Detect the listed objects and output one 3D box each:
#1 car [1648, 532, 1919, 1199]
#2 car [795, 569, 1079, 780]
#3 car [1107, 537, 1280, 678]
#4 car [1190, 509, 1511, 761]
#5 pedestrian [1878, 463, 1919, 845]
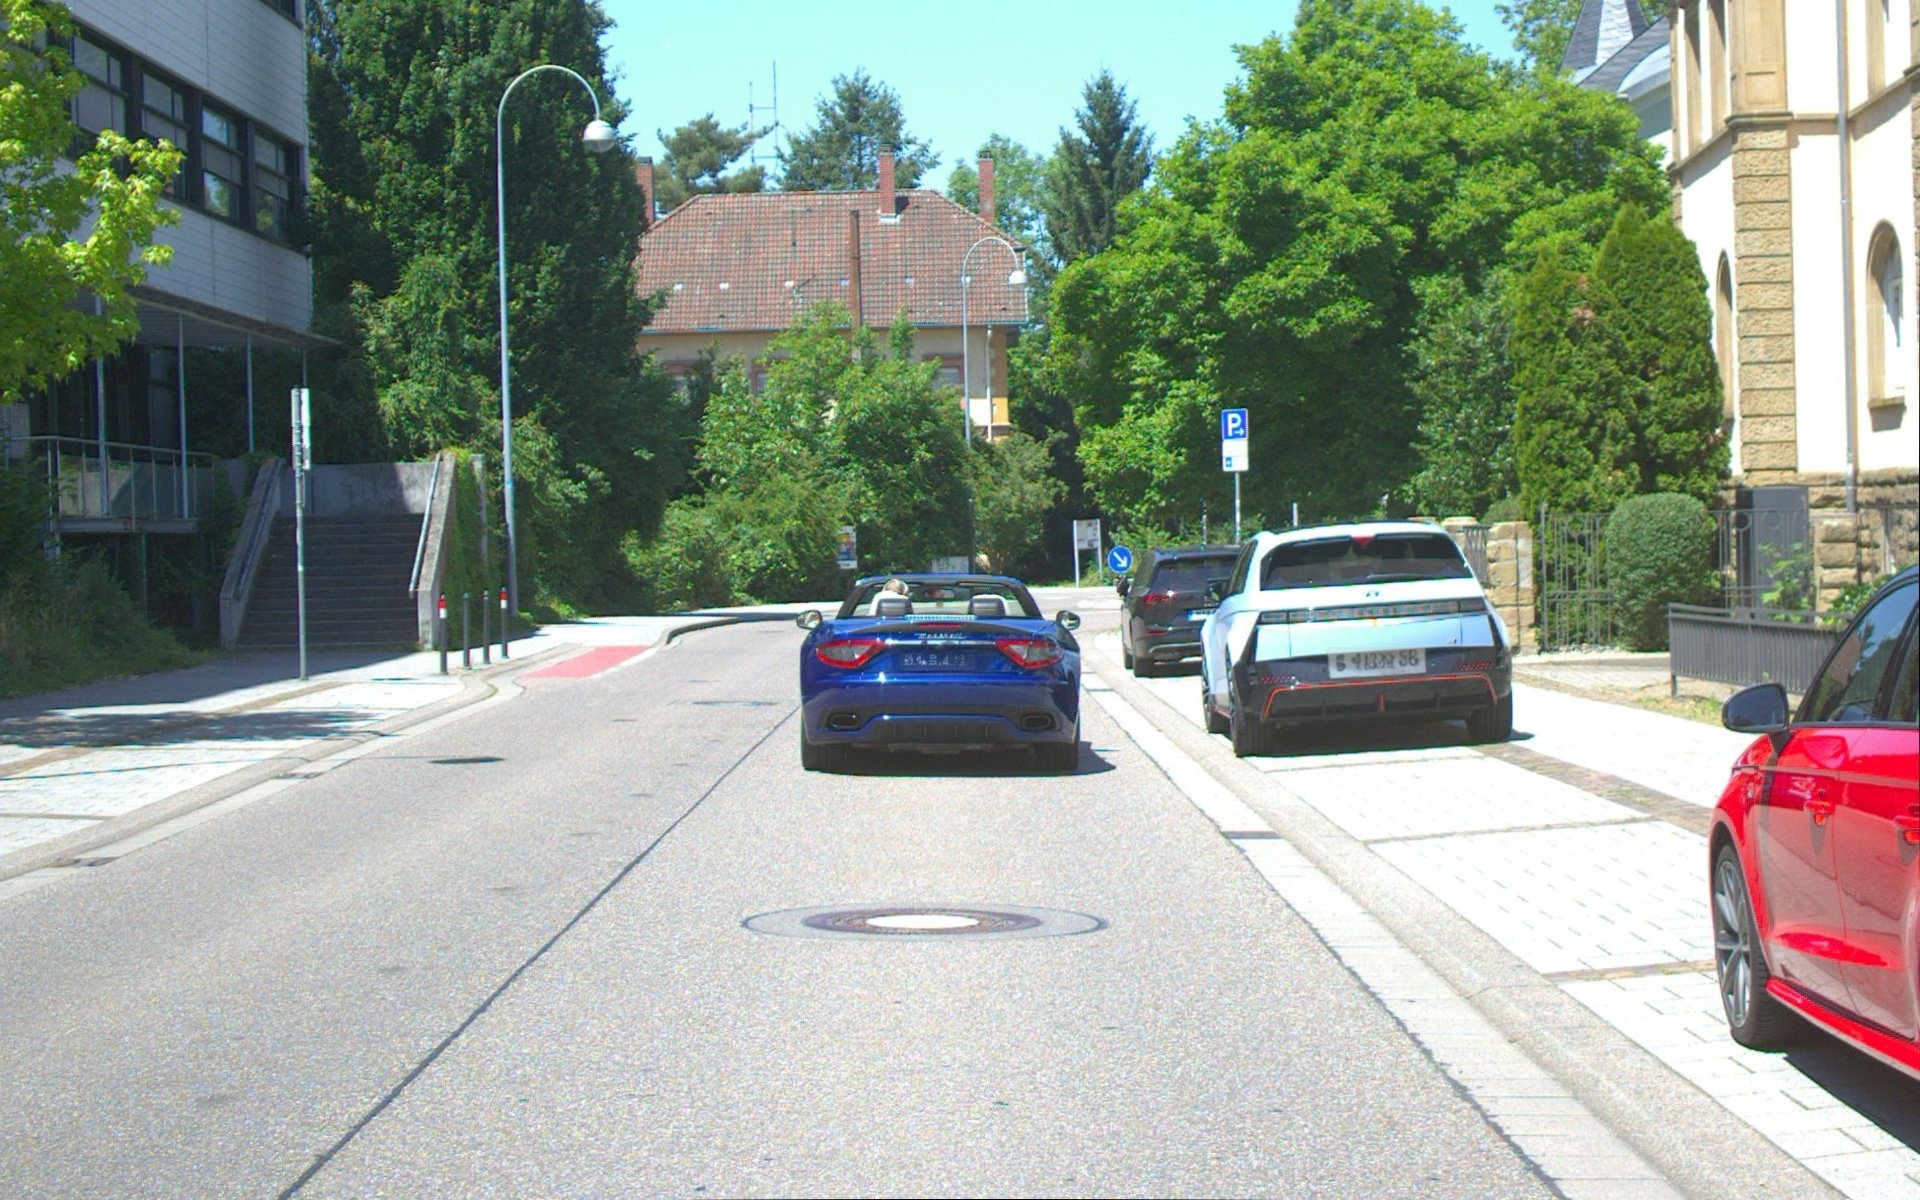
[{"bbox_3d":[2.899,0.550,8.524,1.603,1.436,3.853,-4,1,1],"label":"car"},{"bbox_3d":[-0.143,0.459,24.584,1.826,1.332,4.700,0,1,0],"label":"car"},{"bbox_3d":[2.657,0.039,39.986,1.631,1.441,4.398,-4,1,0],"label":"car"},{"bbox_3d":[2.789,0.196,25.477,1.843,1.614,4.427,-3,1,1],"label":"car"},{"bbox_3d":[4.501,0.215,14.912,0.740,1.664,0.706,-4,1,-1],"label":"pedestrian"}]
